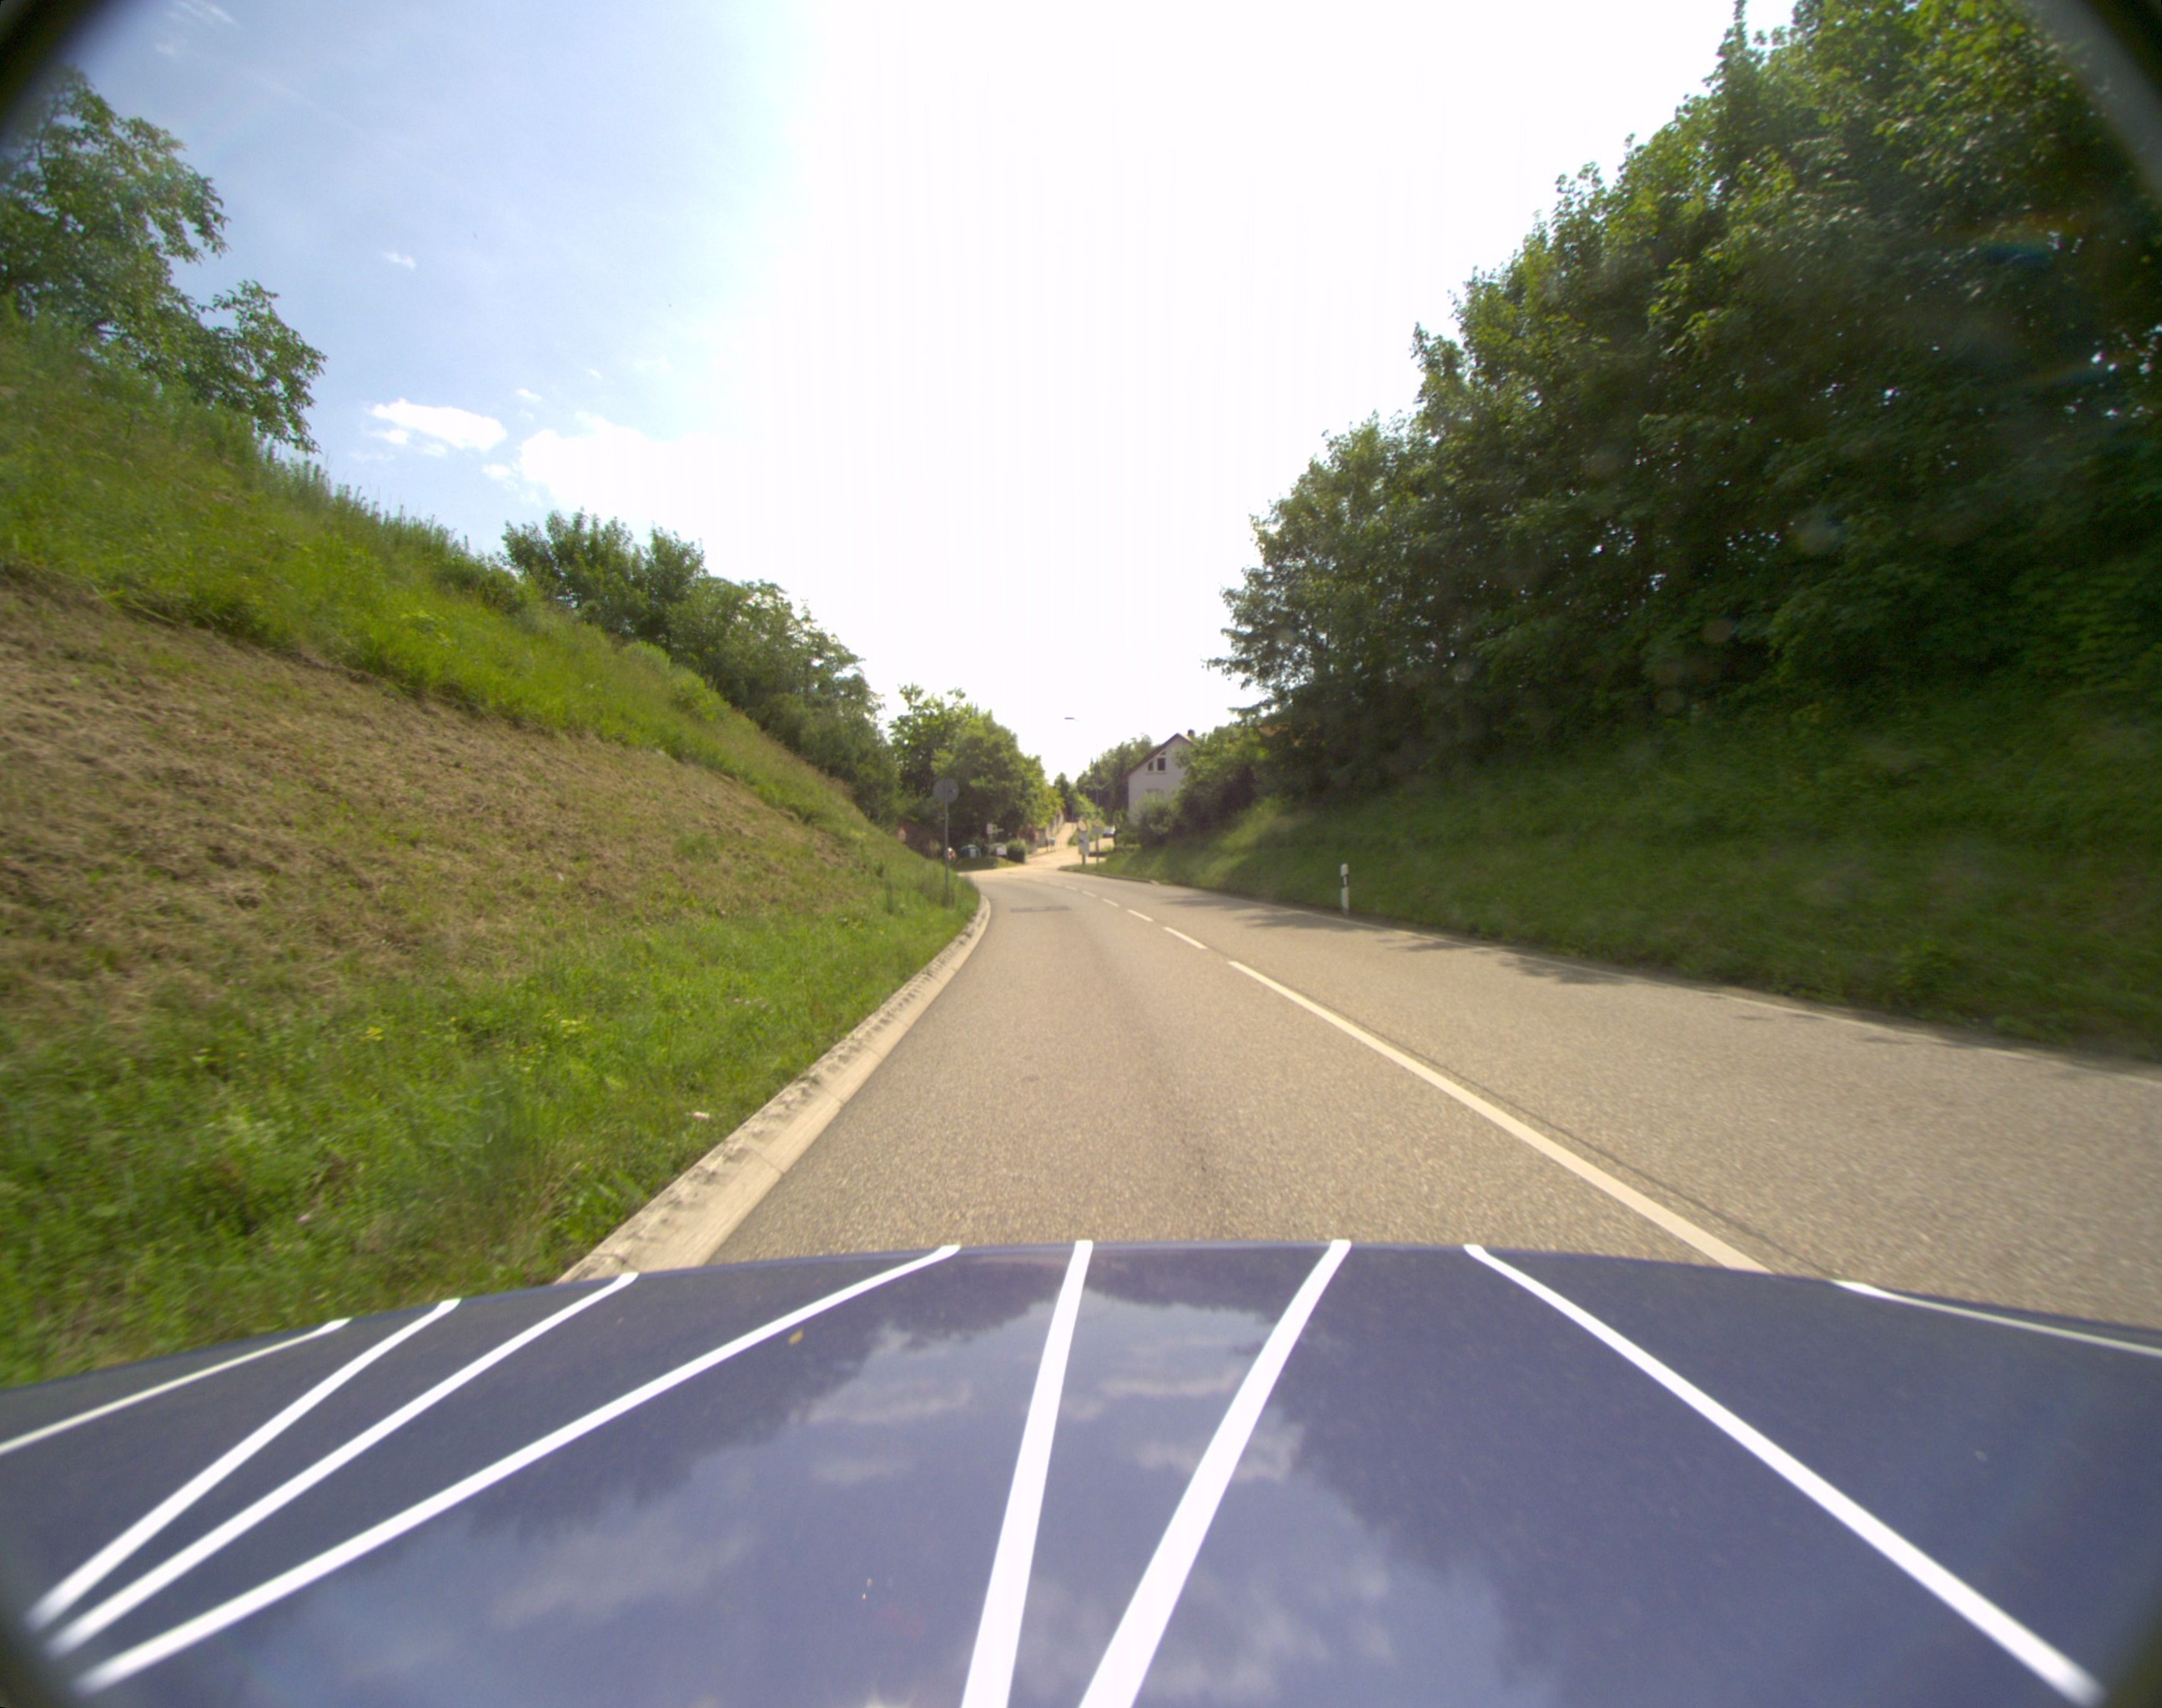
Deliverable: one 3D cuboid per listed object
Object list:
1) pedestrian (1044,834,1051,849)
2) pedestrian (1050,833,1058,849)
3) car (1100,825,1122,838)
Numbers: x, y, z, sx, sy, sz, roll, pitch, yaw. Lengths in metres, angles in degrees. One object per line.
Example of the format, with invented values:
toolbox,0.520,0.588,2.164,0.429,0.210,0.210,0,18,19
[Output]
pedestrian,-3.563,-1.307,81.261,0.574,1.546,0.599,-4,3,5
pedestrian,-2.911,-1.410,81.580,0.687,1.703,0.789,-4,3,5
car,4.314,-3.246,108.418,1.857,1.634,4.386,-4,2,-14
